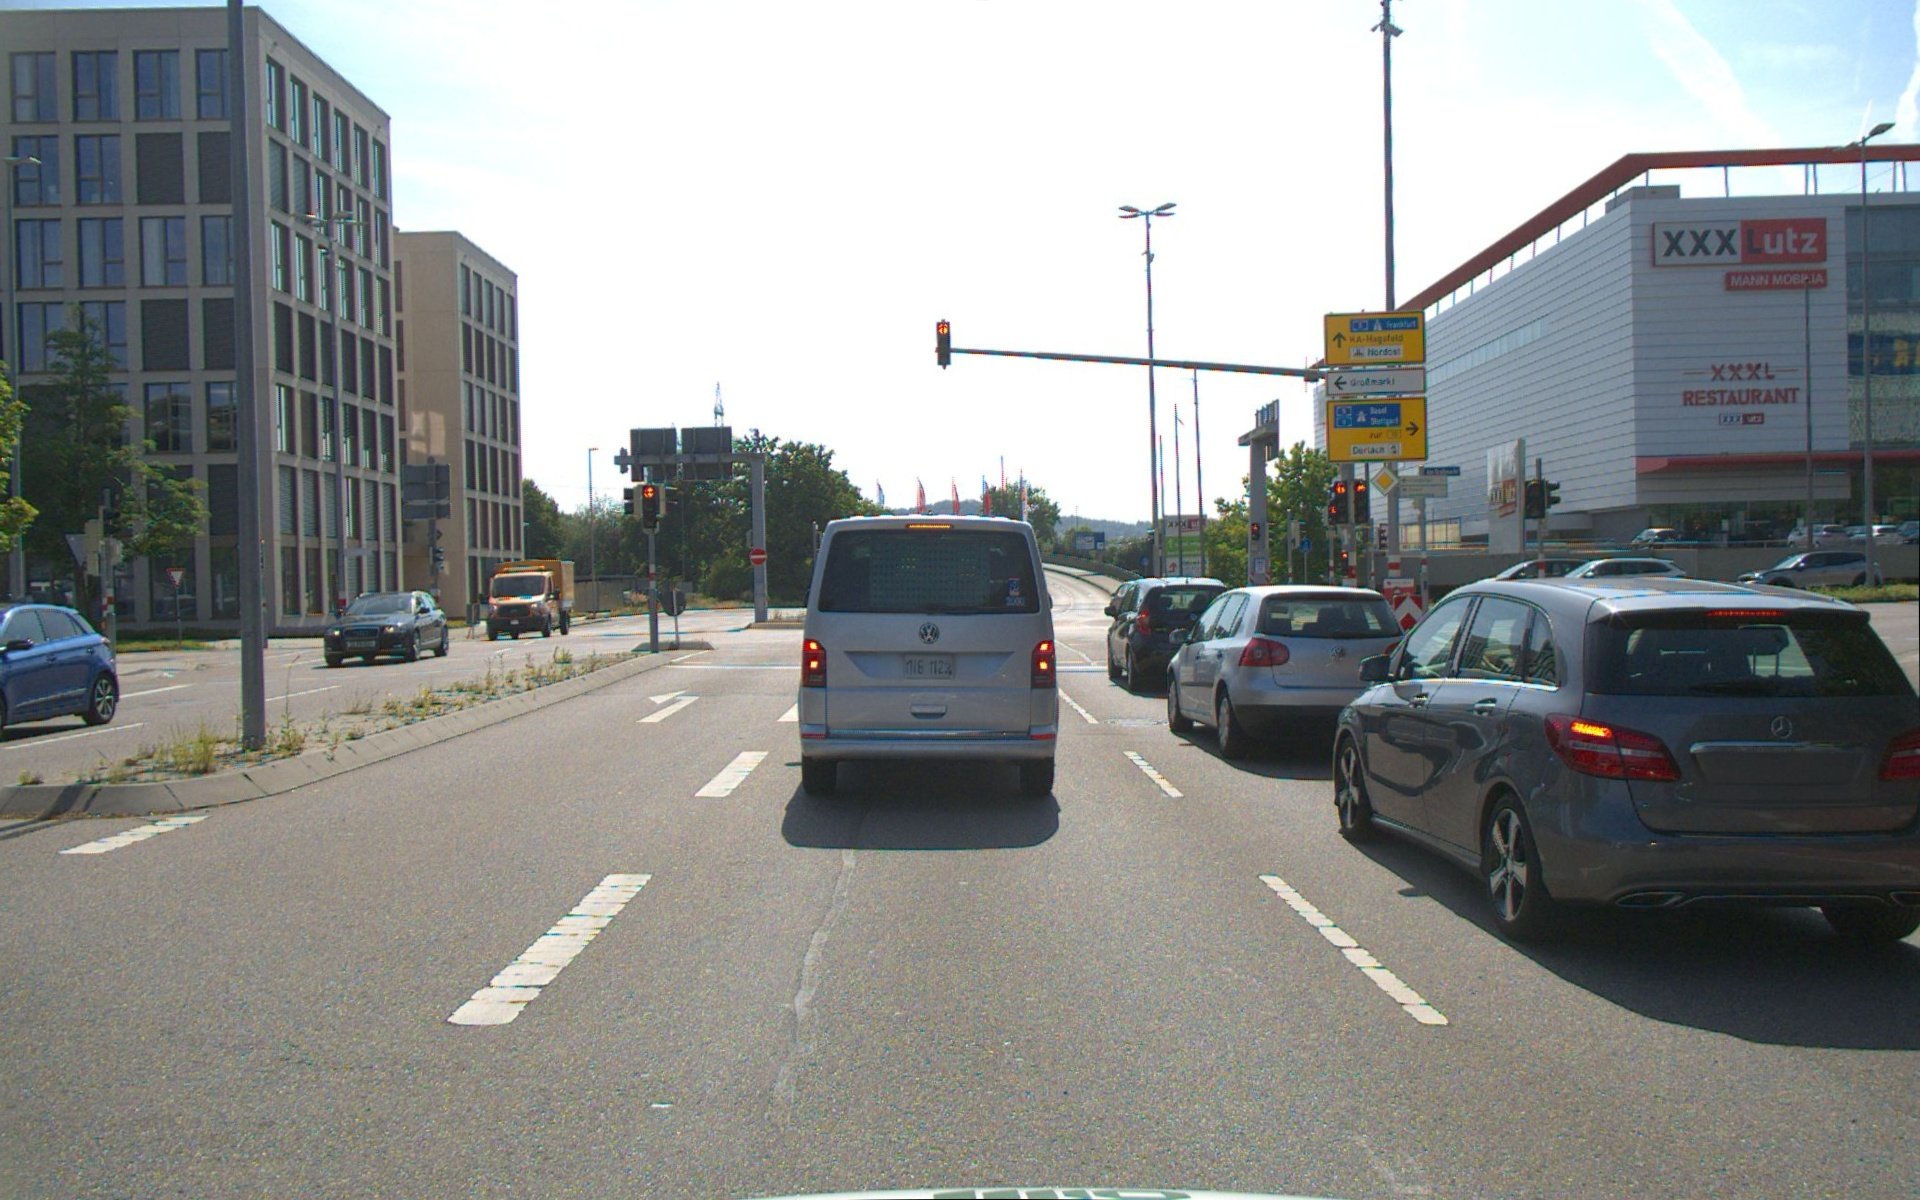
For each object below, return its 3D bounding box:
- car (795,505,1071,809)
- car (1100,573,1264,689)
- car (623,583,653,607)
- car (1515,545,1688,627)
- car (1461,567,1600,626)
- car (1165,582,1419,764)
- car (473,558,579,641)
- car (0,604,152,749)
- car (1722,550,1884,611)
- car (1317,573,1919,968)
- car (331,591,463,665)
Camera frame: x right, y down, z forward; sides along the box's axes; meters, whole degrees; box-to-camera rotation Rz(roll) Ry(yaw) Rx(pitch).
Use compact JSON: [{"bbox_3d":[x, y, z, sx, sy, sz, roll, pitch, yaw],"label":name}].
[{"bbox_3d":[-0.217,0.356,13.051,1.846,2.025,3.999,0,1,-1],"label":"car"},{"bbox_3d":[3.146,0.388,24.183,1.799,1.552,3.999,0,1,-1],"label":"car"},{"bbox_3d":[-28.151,-0.415,144.639,1.953,2.049,3.999,0,1,-1],"label":"car"},{"bbox_3d":[18.467,-0.400,47.760,4.310,2.029,1.482,-4,0,3],"label":"car"},{"bbox_3d":[17.440,-0.112,50.704,3.694,1.545,1.482,-4,0,3],"label":"car"},{"bbox_3d":[2.971,0.581,15.501,1.546,1.483,3.784,0,1,-1],"label":"car"},{"bbox_3d":[-14.754,-0.056,56.659,2.359,2.605,6.888,-2,1,-5],"label":"car"},{"bbox_3d":[-10.880,0.820,18.781,1.648,1.381,3.839,-2,2,-3],"label":"car"},{"bbox_3d":[25.514,-0.584,50.141,4.046,1.545,1.482,-4,0,3],"label":"car"},{"bbox_3d":[3.172,0.639,8.510,1.711,1.543,4.077,0,1,-1],"label":"car"},{"bbox_3d":[-12.120,0.568,35.879,1.545,1.434,4.377,-2,1,-3],"label":"car"}]
